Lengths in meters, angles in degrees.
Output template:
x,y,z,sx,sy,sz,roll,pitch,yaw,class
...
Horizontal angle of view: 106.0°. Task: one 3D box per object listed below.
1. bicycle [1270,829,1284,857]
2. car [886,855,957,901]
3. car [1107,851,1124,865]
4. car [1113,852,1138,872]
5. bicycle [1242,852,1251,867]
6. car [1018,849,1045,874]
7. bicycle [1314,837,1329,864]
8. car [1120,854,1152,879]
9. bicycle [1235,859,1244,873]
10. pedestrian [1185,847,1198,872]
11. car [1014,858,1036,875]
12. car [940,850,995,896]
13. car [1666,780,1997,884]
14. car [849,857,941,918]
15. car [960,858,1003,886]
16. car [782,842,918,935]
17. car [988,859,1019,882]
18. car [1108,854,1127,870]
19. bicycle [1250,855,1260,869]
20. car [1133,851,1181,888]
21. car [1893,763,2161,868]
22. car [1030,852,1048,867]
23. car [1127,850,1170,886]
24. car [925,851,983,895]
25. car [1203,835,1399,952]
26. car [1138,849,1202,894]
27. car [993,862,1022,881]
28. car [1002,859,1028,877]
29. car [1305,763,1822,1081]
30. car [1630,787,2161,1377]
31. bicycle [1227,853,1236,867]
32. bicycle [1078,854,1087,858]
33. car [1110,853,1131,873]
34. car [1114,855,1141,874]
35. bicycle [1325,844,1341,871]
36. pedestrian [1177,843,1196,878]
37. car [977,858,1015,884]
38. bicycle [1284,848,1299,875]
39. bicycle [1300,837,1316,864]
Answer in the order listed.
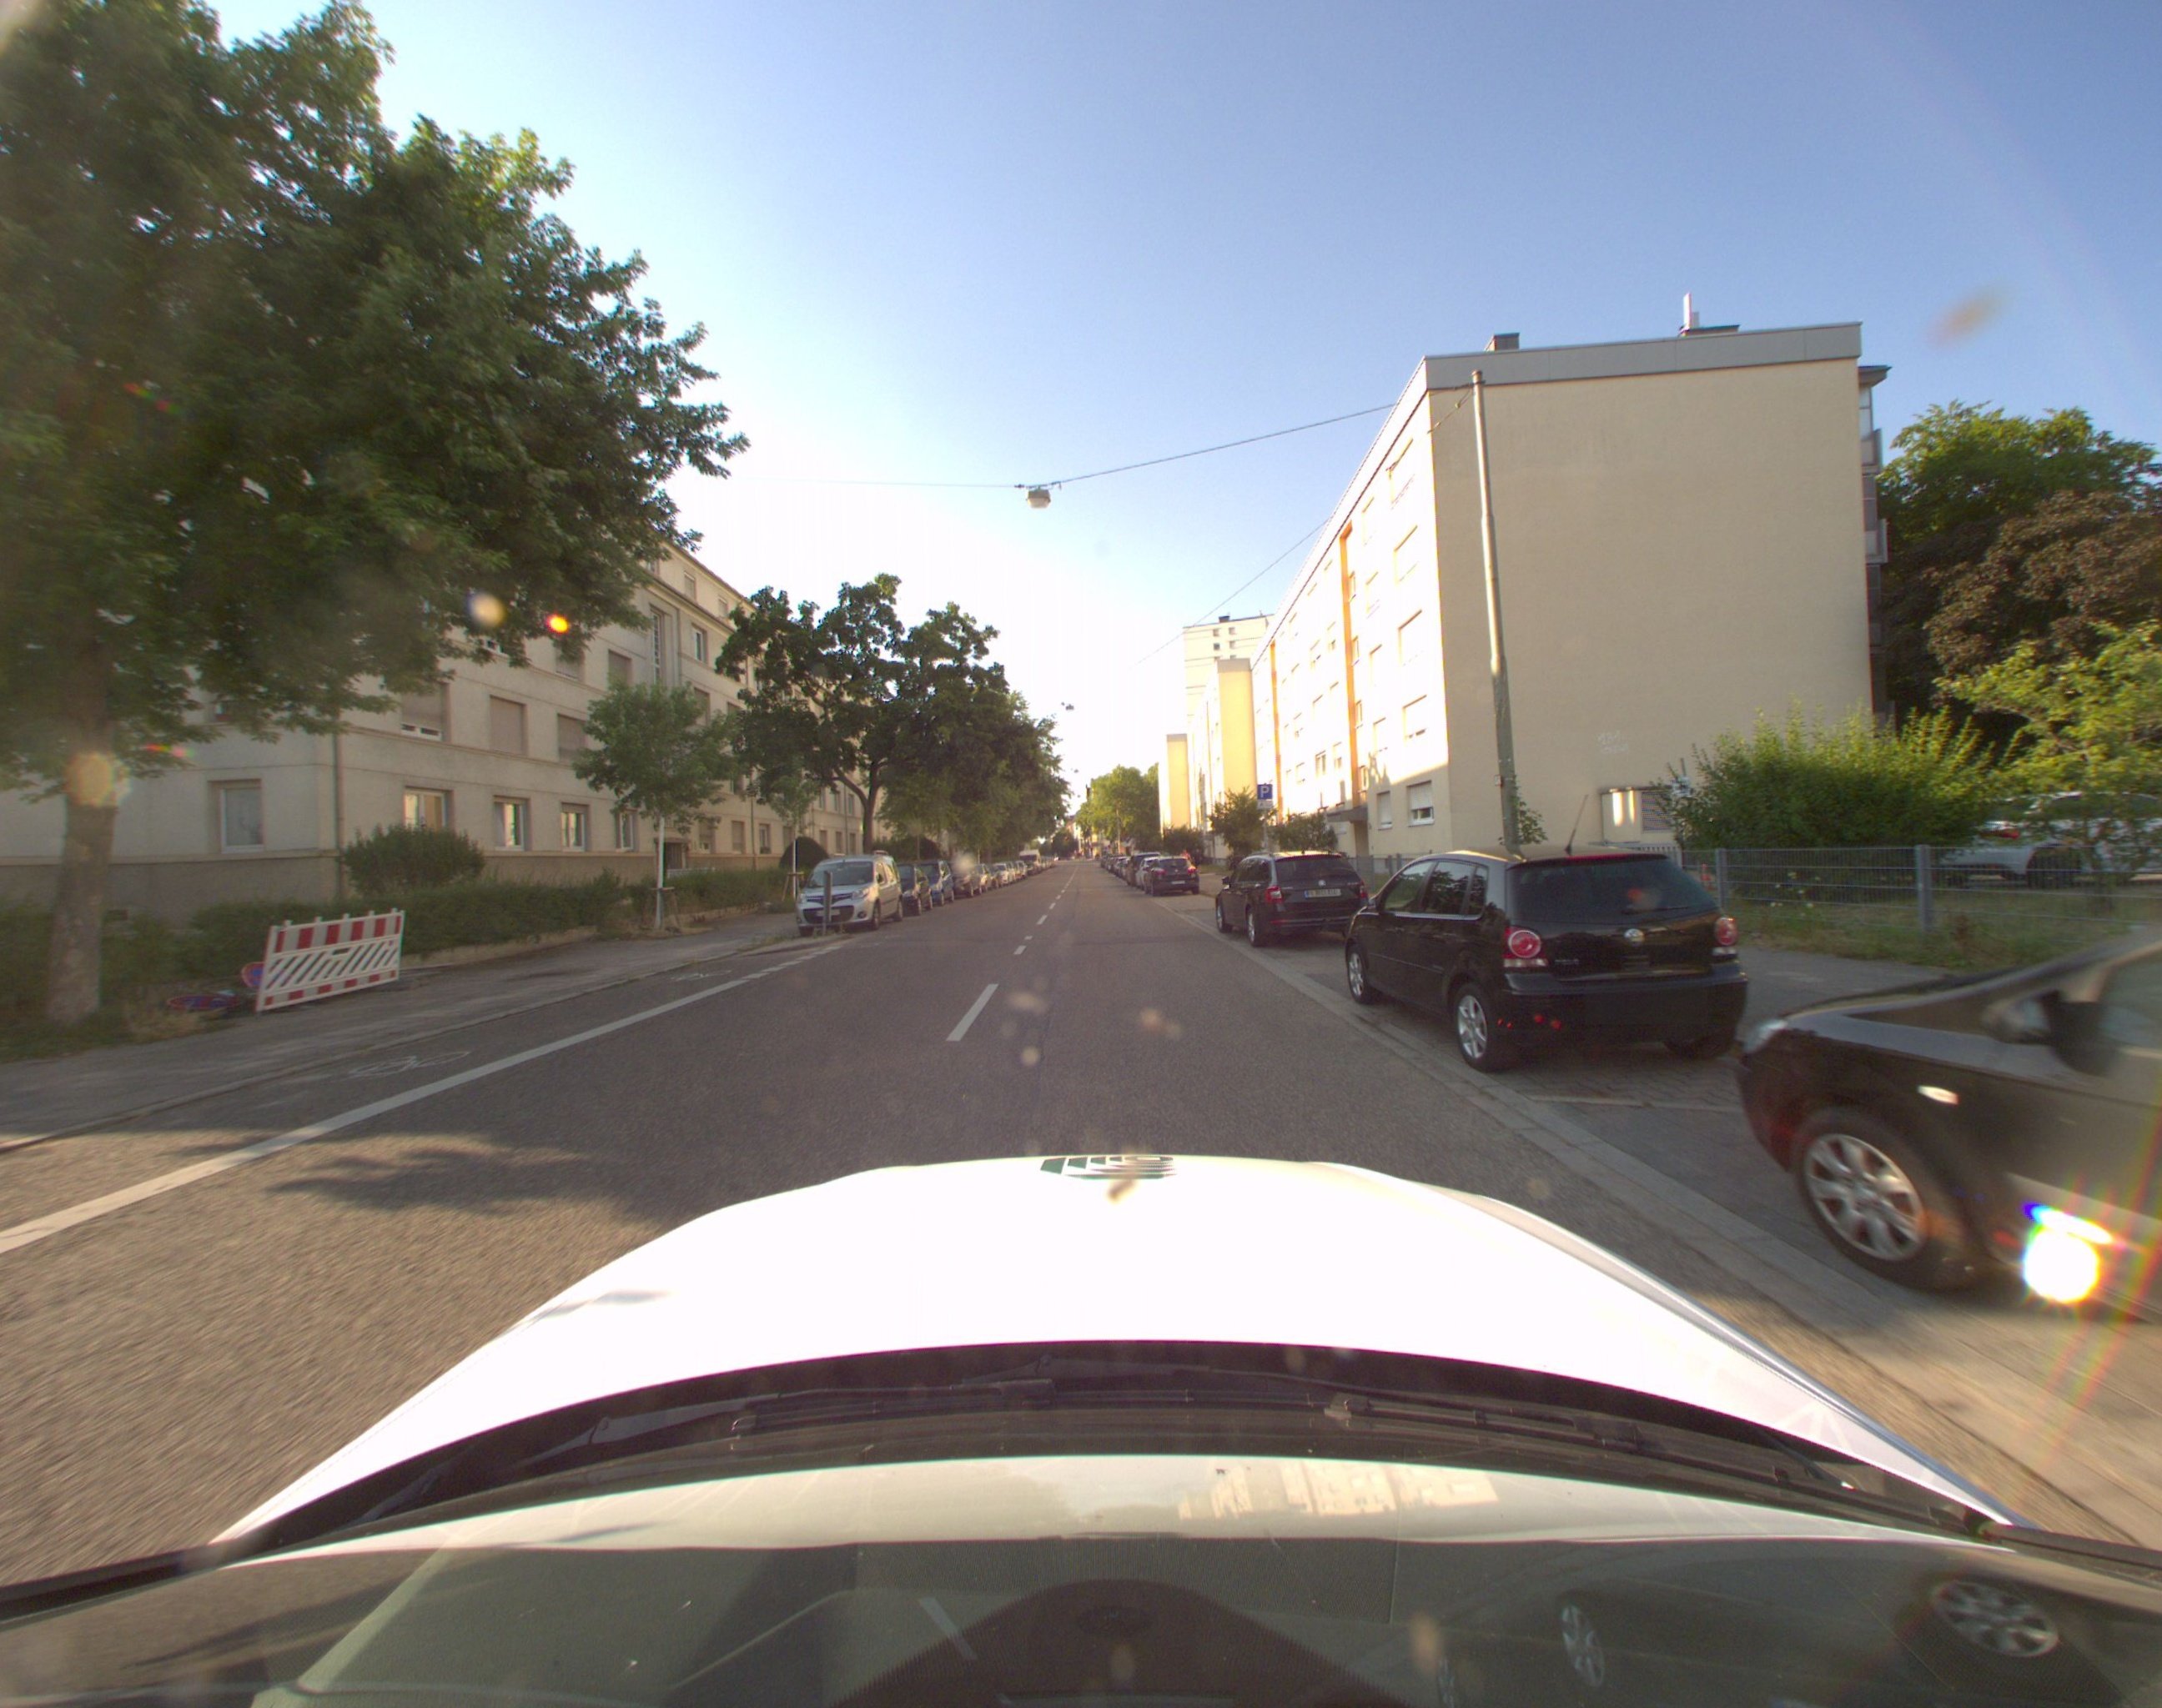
x,y,z,sx,sy,sz,roll,pitch,yaw,class
8.686,-0.473,36.181,0.332,1.192,1.240,0,-1,1,bicycle
-5.717,0.856,29.653,1.868,1.552,3.997,0,-1,-2,car
4.351,0.472,102.708,1.892,1.651,4.341,2,0,-1,car
3.924,0.731,72.696,1.955,1.605,4.279,-2,-1,0,car
11.209,0.378,55.123,0.435,0.942,1.794,-1,-1,6,bicycle
-5.046,0.750,83.607,2.350,2.446,6.164,0,-1,0,car
10.822,-0.140,36.652,0.332,1.192,1.240,0,-1,1,bicycle
3.647,0.847,54.765,1.766,1.454,3.999,-4,-1,0,car
10.702,0.804,55.145,0.435,0.942,1.794,-1,-1,6,bicycle
7.644,0.407,56.367,0.763,1.658,0.536,-4,-1,0,pedestrian
-5.244,1.166,76.613,1.701,1.574,3.819,0,-1,0,car
-5.574,0.928,40.530,1.987,2.013,4.000,-4,-1,0,car
13.940,-0.368,15.347,4.458,1.602,1.734,-3,-1,3,car
-5.531,0.966,24.749,1.868,1.552,3.997,-4,-1,-2,car
-5.442,0.997,44.948,1.868,1.434,4.800,0,-1,-2,car
-5.455,0.776,19.886,1.835,1.896,4.488,-4,-1,1,car
-5.410,1.167,57.413,1.868,1.552,3.997,0,-1,-2,car
3.628,0.807,81.749,1.830,1.501,4.173,0,-1,1,car
11.761,0.557,55.113,0.435,0.942,1.794,-1,-1,6,bicycle
3.454,0.700,37.650,1.766,1.508,3.999,-3,-1,0,car
15.433,-0.540,12.310,4.458,1.455,1.734,-1,-1,3,car
-5.144,0.637,99.925,1.865,1.558,5.056,-7,0,0,car
3.526,0.736,43.190,1.766,1.677,4.646,-5,-1,0,car
-5.399,0.807,35.110,1.868,1.759,4.686,0,-1,-2,car
3.539,0.598,14.182,1.881,1.561,4.943,-4,-1,-2,car
3.420,0.684,32.137,1.794,1.507,4.618,-4,-1,-2,car
-5.430,1.293,60.706,1.868,1.355,3.997,0,-1,-2,car
-5.375,1.157,66.763,1.868,1.355,4.650,0,-1,-2,car
3.499,0.444,7.155,1.894,1.779,4.585,-4,-1,3,car
3.441,0.531,1.852,1.646,1.436,3.958,-3,2,-1,car
10.213,0.387,55.195,0.435,0.942,1.794,-1,-1,6,bicycle
0.381,0.658,248.742,2.800,1.203,0.508,0,-1,-7,bicycle
3.737,0.887,77.380,1.830,1.772,3.981,-2,-1,3,car
3.691,0.875,65.317,1.868,1.443,3.997,0,-1,-2,car
11.267,0.169,36.376,0.332,1.192,1.240,0,-1,1,bicycle
5.926,0.366,45.653,0.885,1.890,1.279,0,-1,0,pedestrian
-5.331,1.072,51.551,1.999,1.552,4.468,0,-1,-2,car
9.330,0.334,36.104,0.332,1.192,1.240,0,-1,1,bicycle
10.085,-0.145,36.200,0.332,1.192,1.240,0,-1,1,bicycle
